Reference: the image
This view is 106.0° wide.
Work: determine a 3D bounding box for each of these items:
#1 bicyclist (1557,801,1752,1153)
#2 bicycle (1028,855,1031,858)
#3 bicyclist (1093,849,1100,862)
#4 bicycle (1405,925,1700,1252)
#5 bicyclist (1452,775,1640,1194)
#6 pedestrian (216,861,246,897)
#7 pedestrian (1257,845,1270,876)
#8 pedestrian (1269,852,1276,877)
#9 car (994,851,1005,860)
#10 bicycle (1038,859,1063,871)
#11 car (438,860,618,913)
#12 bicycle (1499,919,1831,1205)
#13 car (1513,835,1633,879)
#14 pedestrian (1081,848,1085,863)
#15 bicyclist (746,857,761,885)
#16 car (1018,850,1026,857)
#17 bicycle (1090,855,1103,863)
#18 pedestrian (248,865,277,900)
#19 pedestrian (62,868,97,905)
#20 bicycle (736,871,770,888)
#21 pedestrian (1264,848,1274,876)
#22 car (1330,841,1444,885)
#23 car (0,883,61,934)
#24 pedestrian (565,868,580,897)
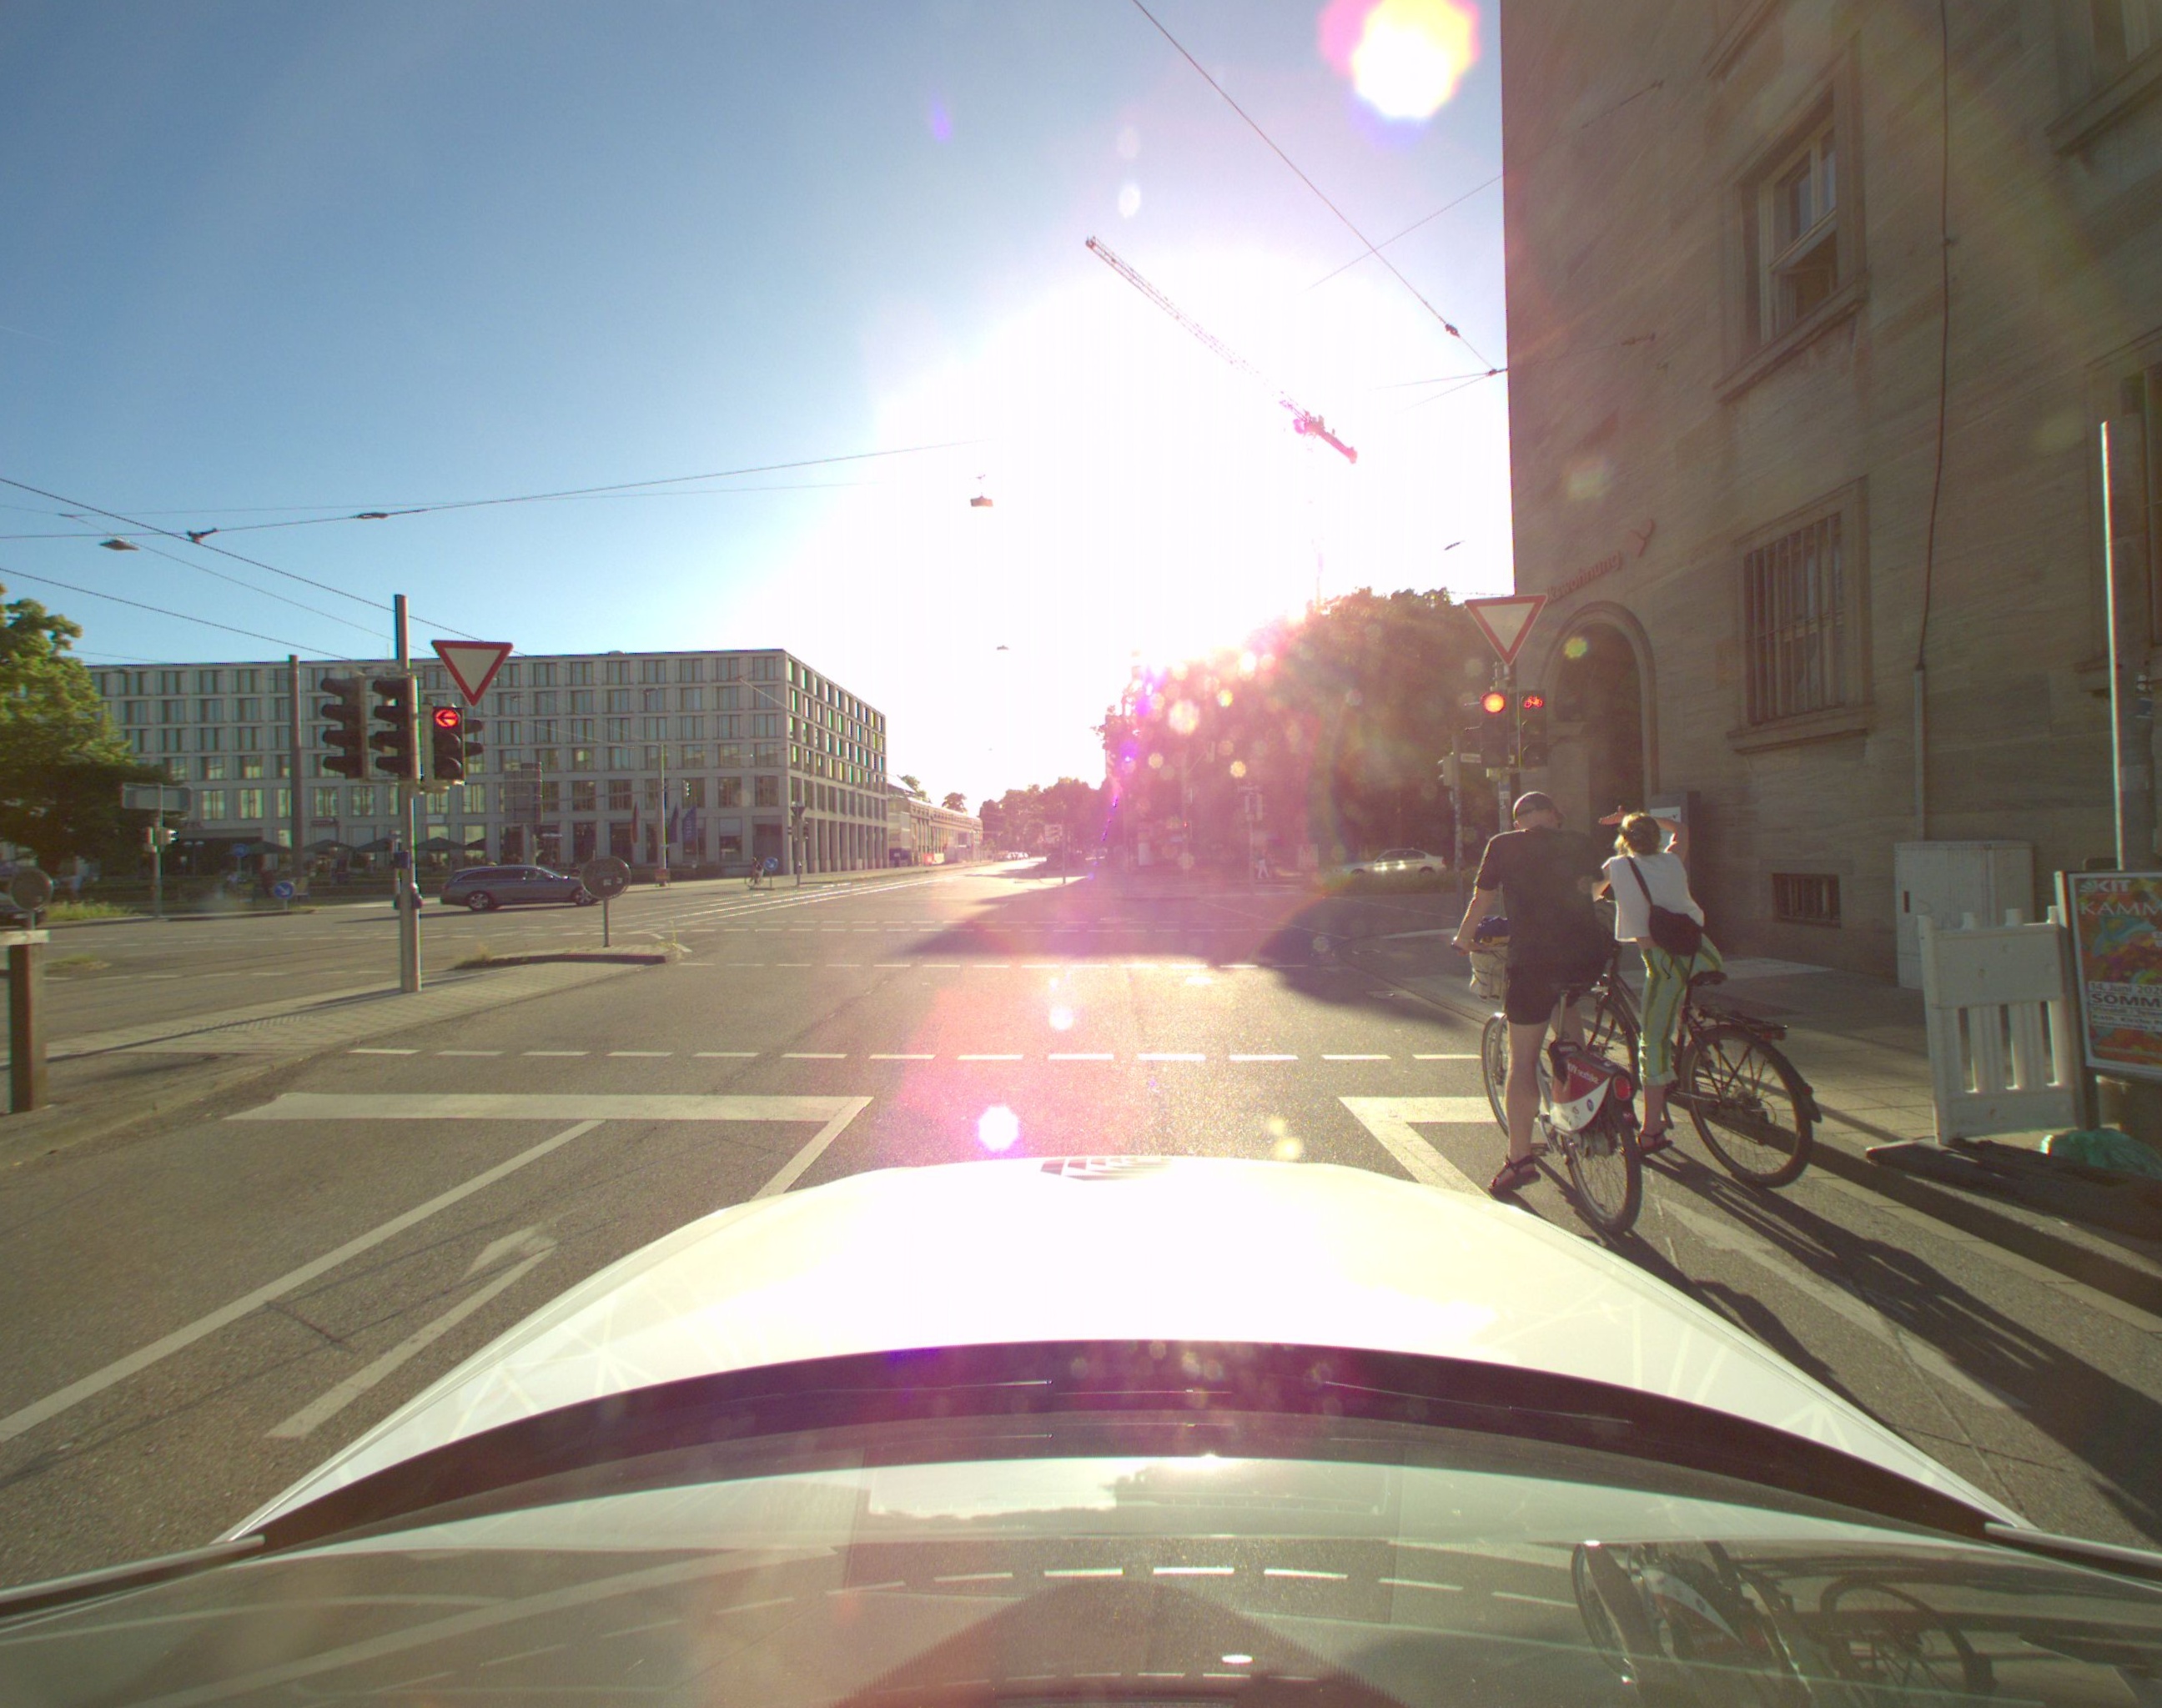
[{"bbox_3d":[2.955,0.593,4.250,0.556,1.691,0.640,-1,0,0],"label":"bicyclist"},{"bbox_3d":[-10.751,0.566,169.830,0.499,0.515,1.258,0,-1,1],"label":"bicycle"},{"bbox_3d":[2.013,0.147,105.273,0.691,1.691,0.574,-2,0,43],"label":"bicyclist"},{"bbox_3d":[2.123,0.959,3.941,0.513,1.077,1.729,-1,0,4],"label":"bicycle"},{"bbox_3d":[2.125,0.562,3.784,0.556,1.799,0.551,-1,0,3],"label":"bicyclist"},{"bbox_3d":[-47.883,1.407,45.893,0.837,2.014,0.827,-1,-1,11],"label":"pedestrian"},{"bbox_3d":[9.860,0.350,44.016,0.580,1.663,0.515,0,1,4],"label":"pedestrian"},{"bbox_3d":[10.215,0.563,43.359,0.316,1.316,0.345,0,1,4],"label":"pedestrian"},{"bbox_3d":[-15.663,0.264,157.077,1.688,1.718,4.245,0,-1,-1],"label":"car"},{"bbox_3d":[-2.568,0.907,67.708,1.996,0.891,0.655,-4,-1,29],"label":"bicycle"},{"bbox_3d":[-18.808,1.062,27.994,4.814,1.565,1.883,-2,0,-24],"label":"car"},{"bbox_3d":[2.944,0.960,4.357,0.532,1.077,1.751,-1,0,1],"label":"bicycle"},{"bbox_3d":[19.845,0.122,32.981,3.835,1.611,1.650,-2,0,1],"label":"car"},{"bbox_3d":[0.224,0.174,98.530,0.462,1.813,0.502,-2,0,-3],"label":"pedestrian"},{"bbox_3d":[-19.384,1.015,48.247,0.778,1.589,0.756,-2,0,-20],"label":"bicyclist"},{"bbox_3d":[-14.233,-0.118,195.327,1.688,1.718,4.245,0,-1,-1],"label":"car"},{"bbox_3d":[2.037,0.653,105.267,1.808,1.077,0.580,-2,0,45],"label":"bicycle"},{"bbox_3d":[-45.097,1.564,44.884,0.711,1.900,0.877,-1,-1,8],"label":"pedestrian"},{"bbox_3d":[-55.417,1.816,45.074,0.840,2.014,0.824,0,-1,-3],"label":"pedestrian"},{"bbox_3d":[-19.415,1.510,48.244,1.865,0.935,0.757,-2,0,-23],"label":"bicycle"},{"bbox_3d":[10.283,0.436,44.493,0.437,1.503,0.437,-2,0,3],"label":"pedestrian"},{"bbox_3d":[12.438,0.352,33.258,3.979,1.611,1.650,-2,0,1],"label":"car"},{"bbox_3d":[-35.250,1.725,25.473,4.405,1.455,1.665,-1,1,-2],"label":"car"},{"bbox_3d":[-29.396,1.643,47.083,0.591,1.589,0.772,-2,0,-22],"label":"pedestrian"}]
